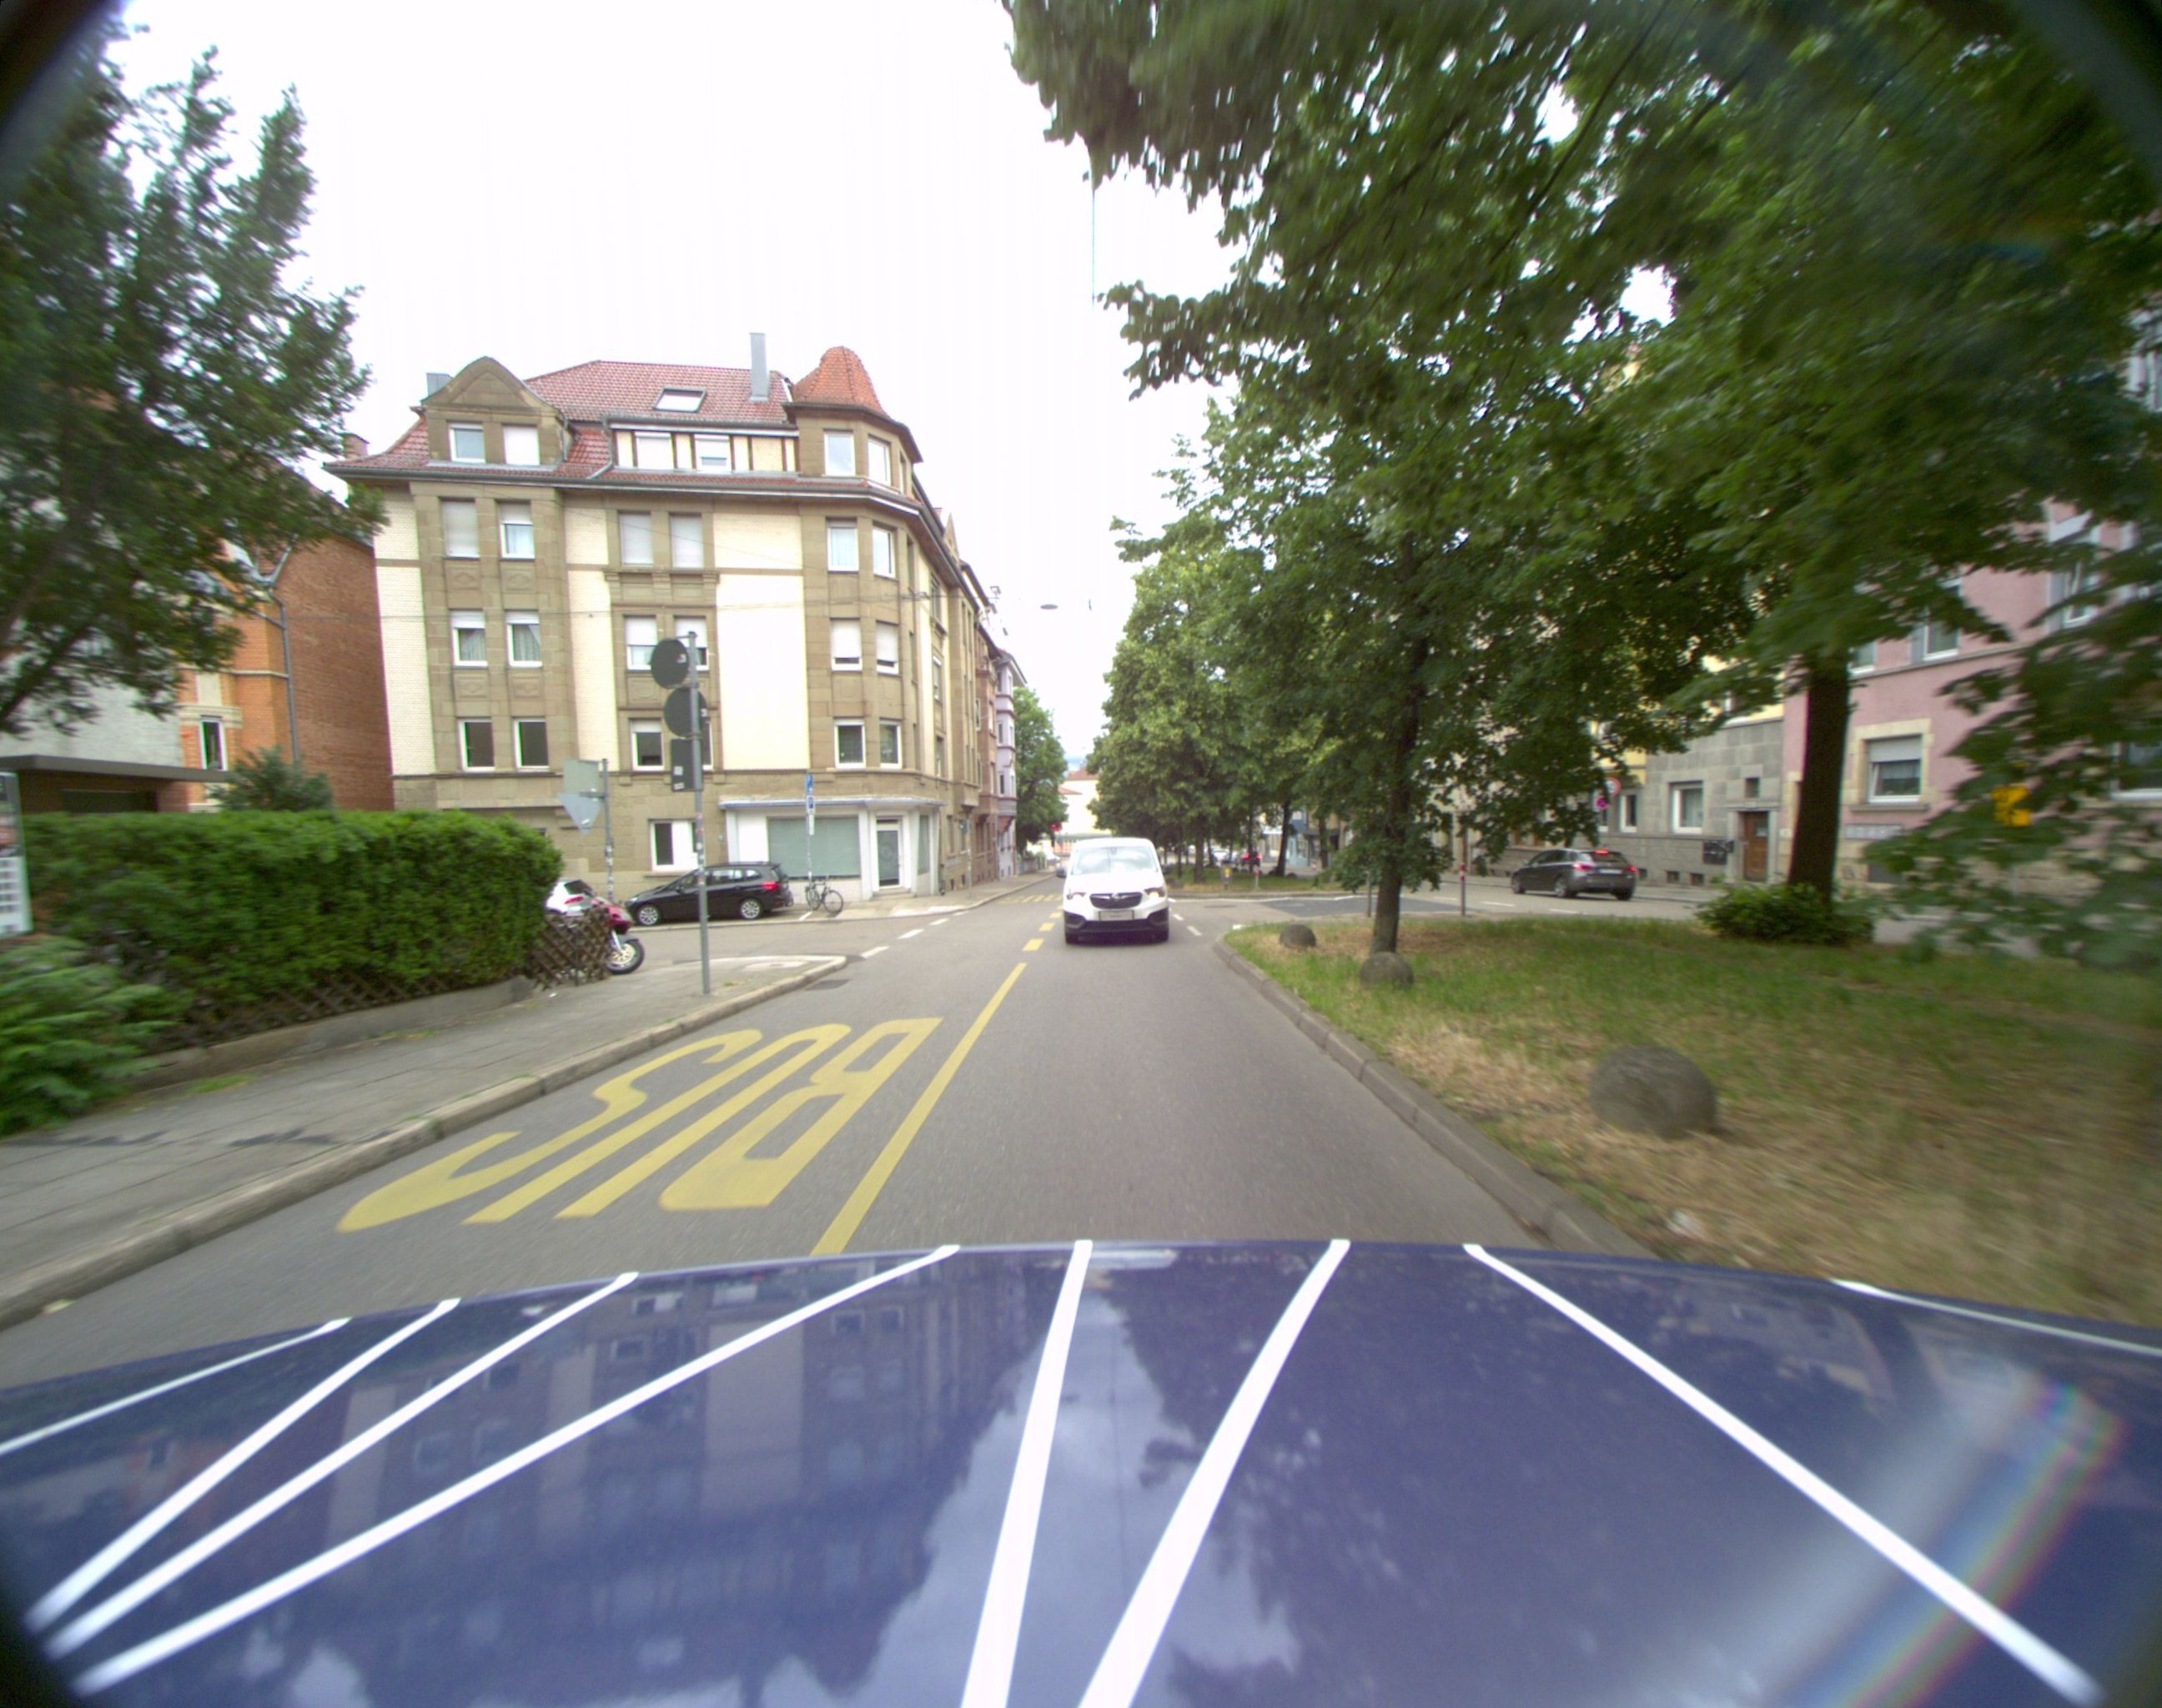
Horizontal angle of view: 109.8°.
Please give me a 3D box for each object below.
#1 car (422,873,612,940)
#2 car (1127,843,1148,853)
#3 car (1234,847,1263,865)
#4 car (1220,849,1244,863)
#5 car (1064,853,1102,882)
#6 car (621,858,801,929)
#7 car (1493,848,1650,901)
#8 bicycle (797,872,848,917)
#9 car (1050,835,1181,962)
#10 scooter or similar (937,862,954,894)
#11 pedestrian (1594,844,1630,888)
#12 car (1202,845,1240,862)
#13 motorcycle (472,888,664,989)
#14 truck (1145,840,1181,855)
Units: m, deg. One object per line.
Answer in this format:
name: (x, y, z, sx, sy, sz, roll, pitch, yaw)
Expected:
car: (-15.885, 1.448, 21.607, 3.873, 1.455, 1.685, -3, 5, -9)
car: (10.112, -1.060, 135.454, 2.207, 1.563, 4.482, -1, 3, 24)
car: (16.633, 0.174, 75.792, 1.820, 1.627, 4.678, 0, 1, 0)
car: (16.542, 0.220, 83.522, 1.673, 1.398, 4.294, -1, 0, -1)
car: (0.112, 0.732, 43.392, 2.038, 1.541, 4.035, -2, 0, 0)
car: (-10.803, 1.108, 22.516, 4.377, 1.638, 1.783, -3, 5, -10)
car: (14.132, 0.555, 22.265, 1.712, 1.374, 4.669, 0, 0, 2)
bicycle: (-7.955, 1.212, 23.341, 0.642, 1.134, 2.068, -7, 8, -42)
car: (0.666, 0.685, 13.560, 1.857, 1.798, 4.731, -2, -1, 4)
scooter or similar: (-5.259, 0.935, 29.493, 0.411, 1.202, 1.146, 1, -2, 1)
pedestrian: (18.072, 0.415, 25.880, 0.700, 1.452, 0.704, -2, 0, 2)
car: (17.873, -0.032, 97.023, 4.258, 2.003, 2.003, -1, 3, 32)
motorcycle: (-7.491, 1.213, 11.199, 2.061, 1.260, 1.010, -3, 1, -3)
truck: (15.359, -1.225, 141.940, 6.467, 2.707, 2.766, -1, 0, -33)
